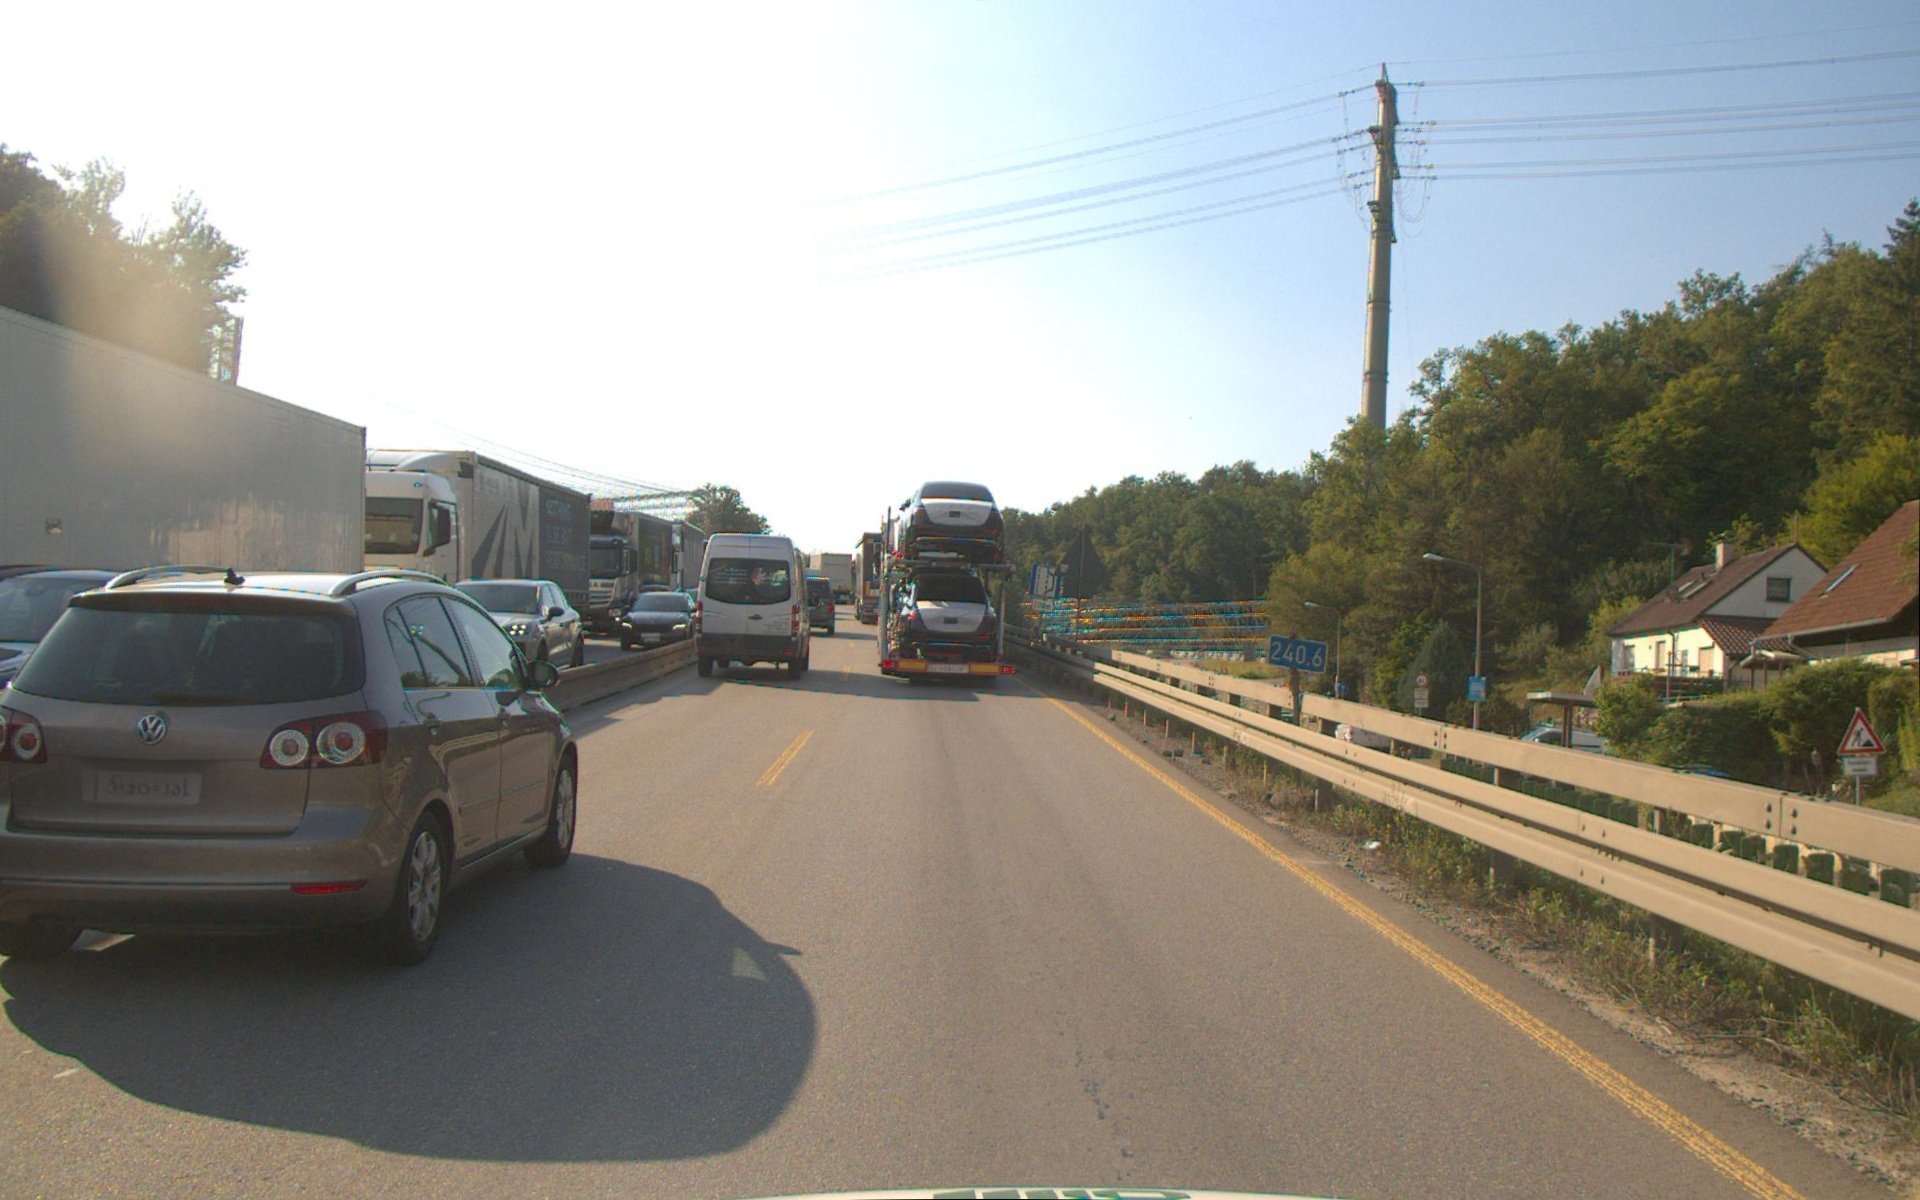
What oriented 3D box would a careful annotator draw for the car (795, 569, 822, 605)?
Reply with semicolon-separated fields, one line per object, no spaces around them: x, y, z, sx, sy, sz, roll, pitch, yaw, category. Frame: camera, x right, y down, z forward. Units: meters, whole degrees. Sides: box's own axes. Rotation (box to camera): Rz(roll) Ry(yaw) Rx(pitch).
-9.266;-0.790;101.020;1.499;2.049;3.995;4;-1;-5;car

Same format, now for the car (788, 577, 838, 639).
-5.292;0.303;59.825;1.498;2.049;3.998;4;-1;-2;car

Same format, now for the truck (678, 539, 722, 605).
-17.236;-1.801;110.070;2.650;4.213;5.784;1;-1;-8;truck

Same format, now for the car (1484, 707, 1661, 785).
21.203;5.035;57.433;5.353;2.303;2.000;3;-2;2;car

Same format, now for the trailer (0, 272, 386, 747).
-10.211;-0.831;19.401;2.406;4.395;13.770;1;0;-2;trailer

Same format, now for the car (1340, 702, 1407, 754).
17.224;5.317;69.056;1.953;1.951;4.866;1;-2;5;car

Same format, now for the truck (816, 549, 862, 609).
-10.190;-1.802;139.593;3.576;4.758;11.687;2;1;-4;truck

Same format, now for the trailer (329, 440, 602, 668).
-10.904;-0.829;38.384;2.720;4.277;13.824;1;0;-3;trailer

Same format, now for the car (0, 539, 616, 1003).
-2.913;0.620;7.941;1.666;1.615;4.146;1;0;-1;car

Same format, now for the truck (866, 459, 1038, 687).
-0.297;-0.458;32.757;2.814;4.049;5.764;1;-1;-6;truck

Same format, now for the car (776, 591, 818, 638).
-7.326;0.664;74.653;1.797;1.998;4.893;2;-1;-5;car

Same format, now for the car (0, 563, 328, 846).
-6.468;0.592;11.981;1.842;1.634;4.731;4;-1;0;car

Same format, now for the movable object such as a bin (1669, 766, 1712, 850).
16.684;4.735;37.783;0.525;1.798;0.409;11;-1;8;movable object such as a bin

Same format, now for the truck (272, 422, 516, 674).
-10.572;-0.873;31.585;2.709;4.277;6.111;1;-1;-3;truck

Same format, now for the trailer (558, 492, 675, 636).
-11.726;-1.168;57.094;2.854;4.543;7.146;2;0;-4;trailer

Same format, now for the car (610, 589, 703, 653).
-7.865;0.566;43.263;1.739;1.482;4.811;3;-1;-3;car

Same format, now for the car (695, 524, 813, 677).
-3.926;0.029;32.093;1.940;2.731;4.144;1;-1;-3;car

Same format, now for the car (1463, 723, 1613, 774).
21.590;5.542;61.917;4.985;1.584;1.716;3;-2;2;car

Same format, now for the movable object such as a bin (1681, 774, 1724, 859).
16.578;4.829;36.931;0.480;1.798;0.414;11;-1;8;movable object such as a bin

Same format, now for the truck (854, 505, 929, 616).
-3.369;-1.837;78.514;3.164;4.758;11.687;2;1;-4;truck

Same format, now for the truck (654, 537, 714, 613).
-14.693;-1.280;88.377;2.696;3.872;7.102;1;0;-6;truck

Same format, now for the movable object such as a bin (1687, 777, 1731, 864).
16.521;4.866;36.484;0.480;1.798;0.414;11;-1;8;movable object such as a bin

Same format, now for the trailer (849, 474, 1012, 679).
-1.097;-0.428;41.066;2.819;4.064;15.261;1;0;-5;trailer

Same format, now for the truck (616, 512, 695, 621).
-12.229;-1.309;66.760;2.696;4.187;5.024;1;0;-6;truck

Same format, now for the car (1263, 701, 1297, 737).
15.632;5.792;80.898;1.493;1.486;4.271;1;0;9;car

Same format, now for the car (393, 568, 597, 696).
-7.153;0.484;26.008;1.968;1.684;4.970;4;-1;-3;car

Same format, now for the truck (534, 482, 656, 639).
-11.391;-1.165;52.081;2.862;4.593;5.023;2;0;-4;truck

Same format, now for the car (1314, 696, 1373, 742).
18.262;5.646;78.957;1.823;2.021;5.053;1;-2;3;car

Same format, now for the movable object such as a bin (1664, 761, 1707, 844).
16.761;4.669;38.211;0.519;1.798;0.416;11;-1;8;movable object such as a bin
